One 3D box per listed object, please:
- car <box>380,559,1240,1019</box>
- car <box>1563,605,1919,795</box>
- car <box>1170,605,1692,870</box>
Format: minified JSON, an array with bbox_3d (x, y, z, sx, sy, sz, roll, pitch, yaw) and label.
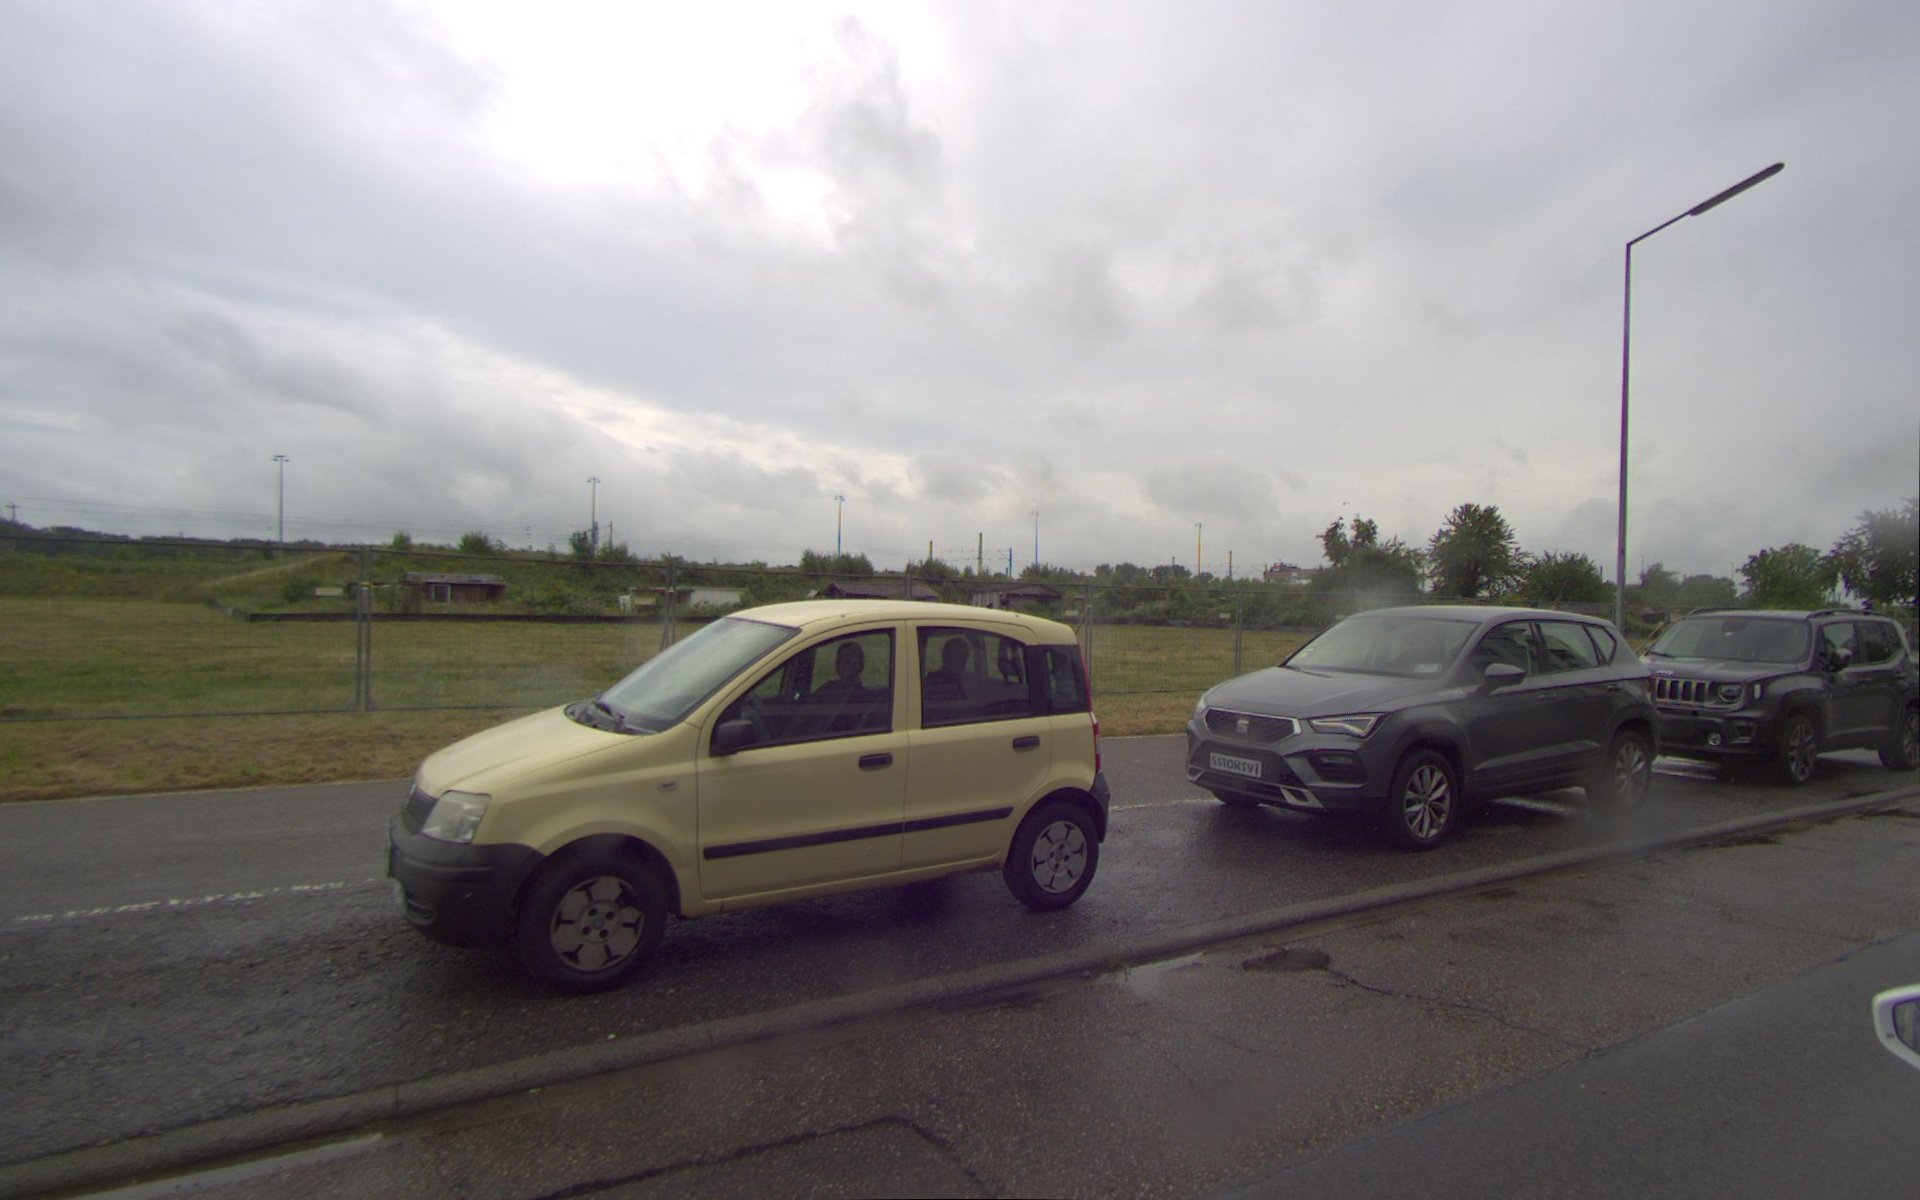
[{"bbox_3d":[-0.635,0.723,5.329,4.164,1.596,1.716,2,-1,-32],"label":"car"},{"bbox_3d":[8.954,0.965,11.029,4.819,1.715,1.746,1,0,-28],"label":"car"},{"bbox_3d":[3.812,0.892,7.971,4.085,1.611,1.744,1,0,-30],"label":"car"}]
